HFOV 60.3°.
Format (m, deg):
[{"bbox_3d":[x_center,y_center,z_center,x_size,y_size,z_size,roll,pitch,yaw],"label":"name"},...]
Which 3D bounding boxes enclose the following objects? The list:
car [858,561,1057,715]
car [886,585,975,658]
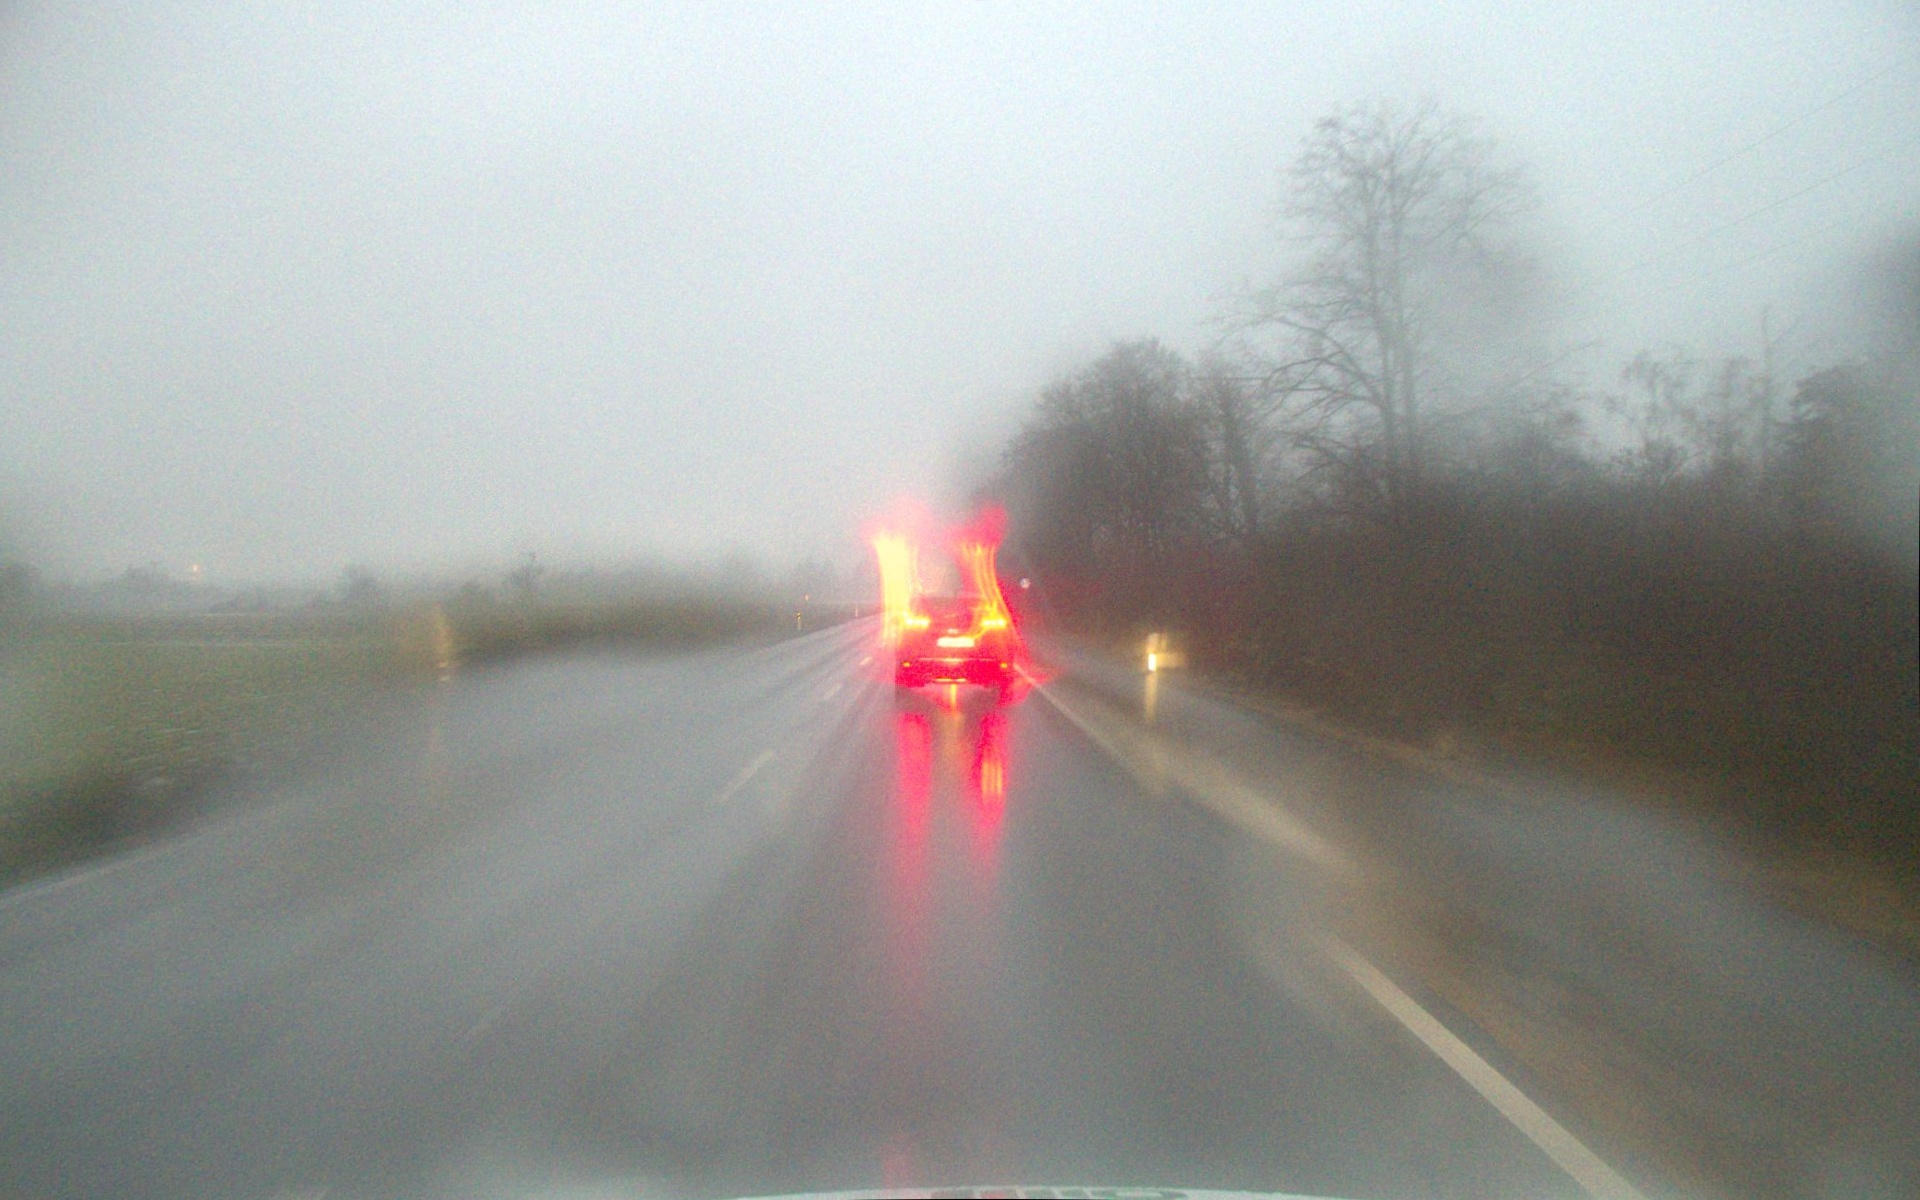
[{"bbox_3d":[-0.047,0.545,26.076,2.763,2.113,5.803,1,0,0],"label":"car"},{"bbox_3d":[-0.872,0.636,50.750,2.539,2.049,5.803,1,0,0],"label":"car"}]
